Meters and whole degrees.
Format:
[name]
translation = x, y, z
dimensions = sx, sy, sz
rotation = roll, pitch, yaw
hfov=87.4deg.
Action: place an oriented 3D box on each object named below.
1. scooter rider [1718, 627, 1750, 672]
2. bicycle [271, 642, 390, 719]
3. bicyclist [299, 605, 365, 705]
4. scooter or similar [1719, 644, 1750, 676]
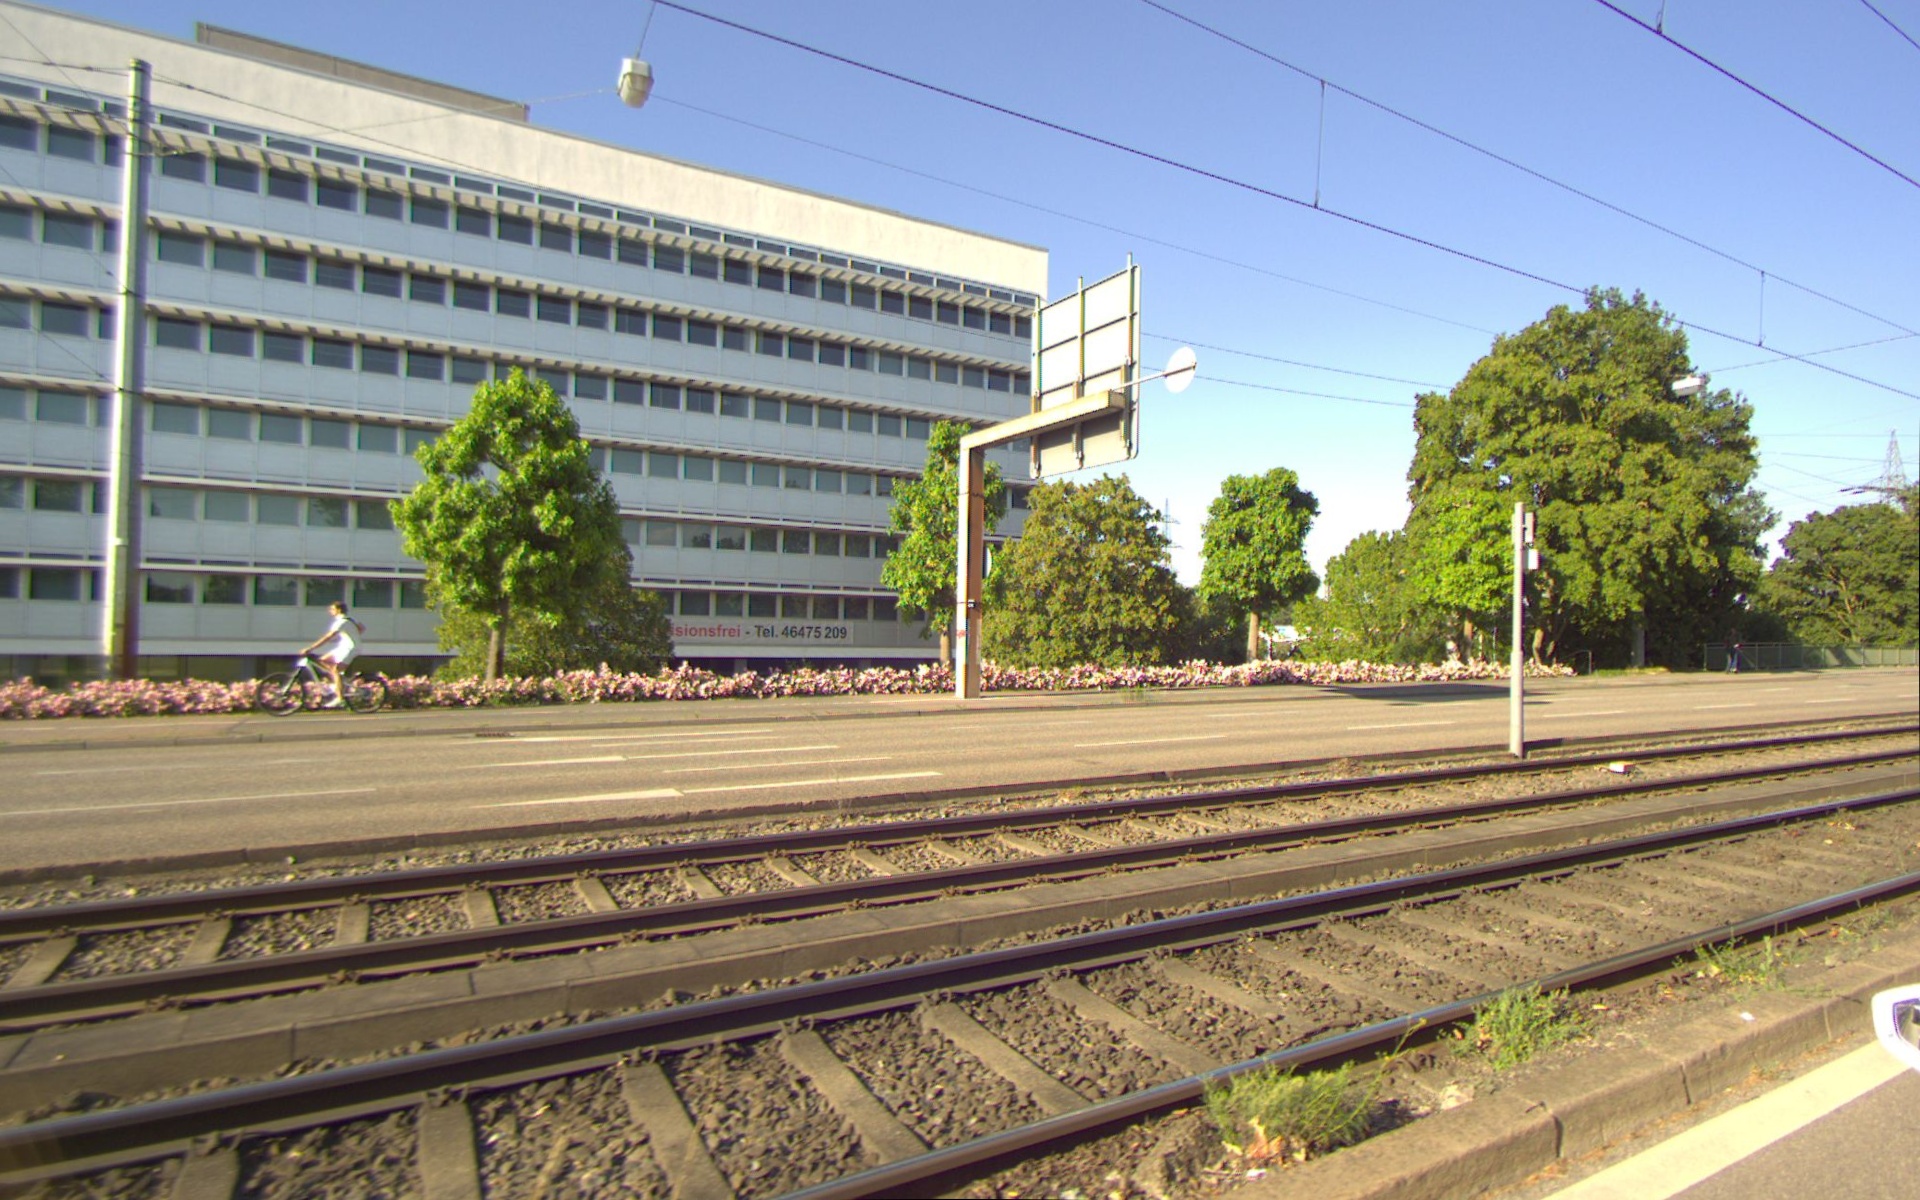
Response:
[scooter rider]
translation = 32.398, 2.074, 42.045
dimensions = 0.986, 1.873, 0.681
rotation = 1, -2, -23
[bicycle]
translation = -10.979, 1.377, 17.556
dimensions = 1.730, 1.235, 0.598
rotation = 1, 1, -35
[bicyclist]
translation = -10.962, 0.946, 17.539
dimensions = 0.953, 1.681, 0.599
rotation = 1, 1, -35
[scooter or similar]
translation = 32.429, 2.494, 42.054
dimensions = 1.245, 1.313, 0.470
rotation = 1, -2, -24
